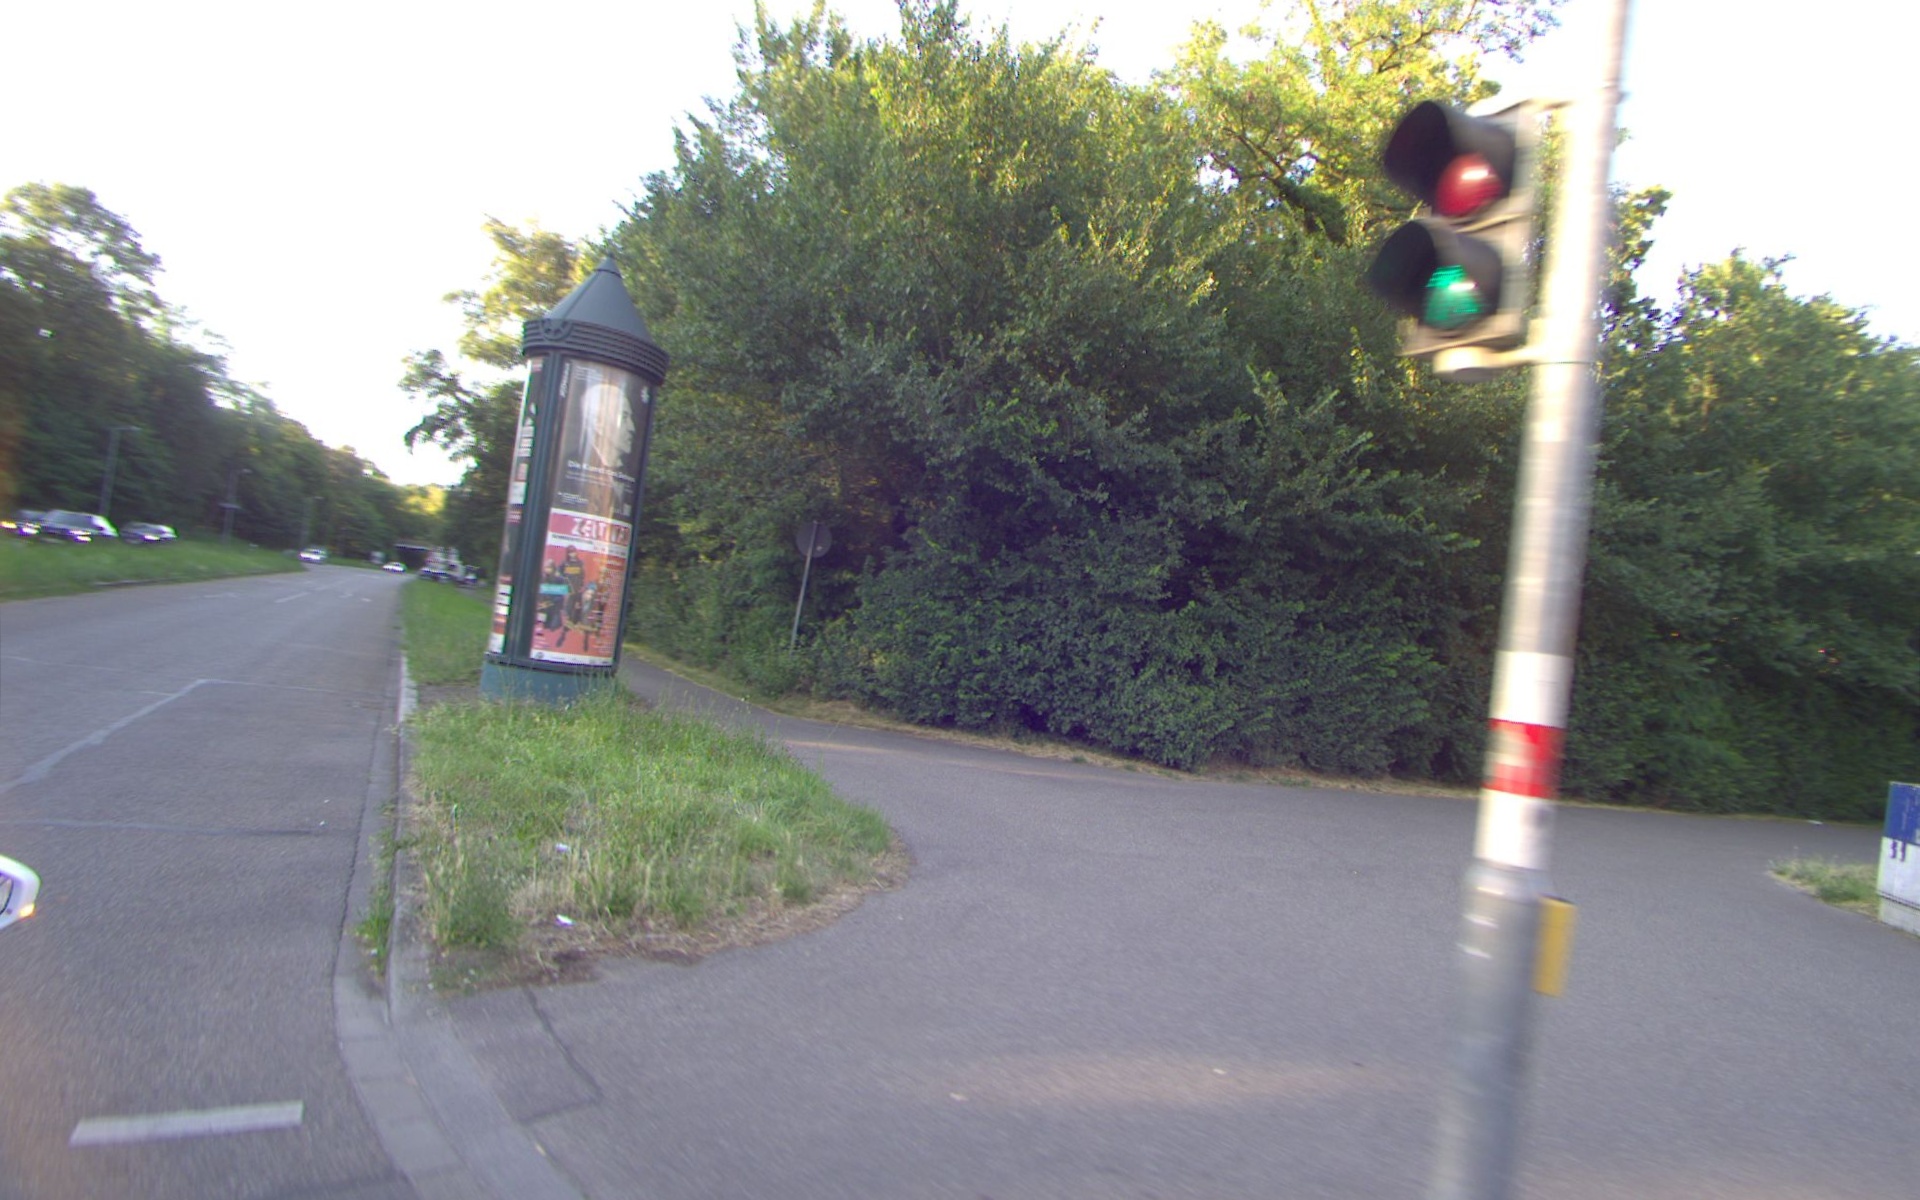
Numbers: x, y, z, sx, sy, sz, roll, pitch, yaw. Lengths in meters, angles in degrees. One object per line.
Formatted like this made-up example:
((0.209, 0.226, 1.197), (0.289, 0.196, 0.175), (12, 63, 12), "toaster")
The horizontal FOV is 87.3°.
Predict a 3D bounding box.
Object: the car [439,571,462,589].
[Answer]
((-49.119, -1.934, 96.928), (1.685, 1.421, 4.048), (9, -3, -28), "car")

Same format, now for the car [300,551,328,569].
((-68.944, -4.222, 107.442), (1.977, 1.474, 3.788), (8, -4, -27), "car")

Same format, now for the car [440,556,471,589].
((-51.668, -2.811, 102.918), (2.391, 2.889, 5.893), (10, -3, -28), "car")

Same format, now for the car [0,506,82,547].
((-41.991, -3.313, 46.009), (1.809, 1.497, 4.203), (7, -2, -29), "car")

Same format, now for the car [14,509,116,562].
((-33.491, -2.360, 37.791), (1.799, 1.646, 4.419), (7, -2, -29), "car")

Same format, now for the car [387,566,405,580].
((-78.754, -3.733, 140.511), (1.820, 1.523, 3.917), (8, -4, -25), "car")

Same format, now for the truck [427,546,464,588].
((-56.060, -3.531, 109.696), (2.635, 4.072, 9.668), (9, -3, -24), "truck")

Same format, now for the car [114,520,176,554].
((-48.776, -3.711, 60.273), (1.978, 1.646, 4.618), (7, -2, -29), "car")

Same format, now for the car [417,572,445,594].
((-41.432, -1.315, 78.830), (1.651, 1.420, 3.918), (12, -4, -26), "car")

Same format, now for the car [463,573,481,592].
((-75.391, -2.719, 155.495), (1.974, 2.435, 5.800), (8, -4, -22), "car")
